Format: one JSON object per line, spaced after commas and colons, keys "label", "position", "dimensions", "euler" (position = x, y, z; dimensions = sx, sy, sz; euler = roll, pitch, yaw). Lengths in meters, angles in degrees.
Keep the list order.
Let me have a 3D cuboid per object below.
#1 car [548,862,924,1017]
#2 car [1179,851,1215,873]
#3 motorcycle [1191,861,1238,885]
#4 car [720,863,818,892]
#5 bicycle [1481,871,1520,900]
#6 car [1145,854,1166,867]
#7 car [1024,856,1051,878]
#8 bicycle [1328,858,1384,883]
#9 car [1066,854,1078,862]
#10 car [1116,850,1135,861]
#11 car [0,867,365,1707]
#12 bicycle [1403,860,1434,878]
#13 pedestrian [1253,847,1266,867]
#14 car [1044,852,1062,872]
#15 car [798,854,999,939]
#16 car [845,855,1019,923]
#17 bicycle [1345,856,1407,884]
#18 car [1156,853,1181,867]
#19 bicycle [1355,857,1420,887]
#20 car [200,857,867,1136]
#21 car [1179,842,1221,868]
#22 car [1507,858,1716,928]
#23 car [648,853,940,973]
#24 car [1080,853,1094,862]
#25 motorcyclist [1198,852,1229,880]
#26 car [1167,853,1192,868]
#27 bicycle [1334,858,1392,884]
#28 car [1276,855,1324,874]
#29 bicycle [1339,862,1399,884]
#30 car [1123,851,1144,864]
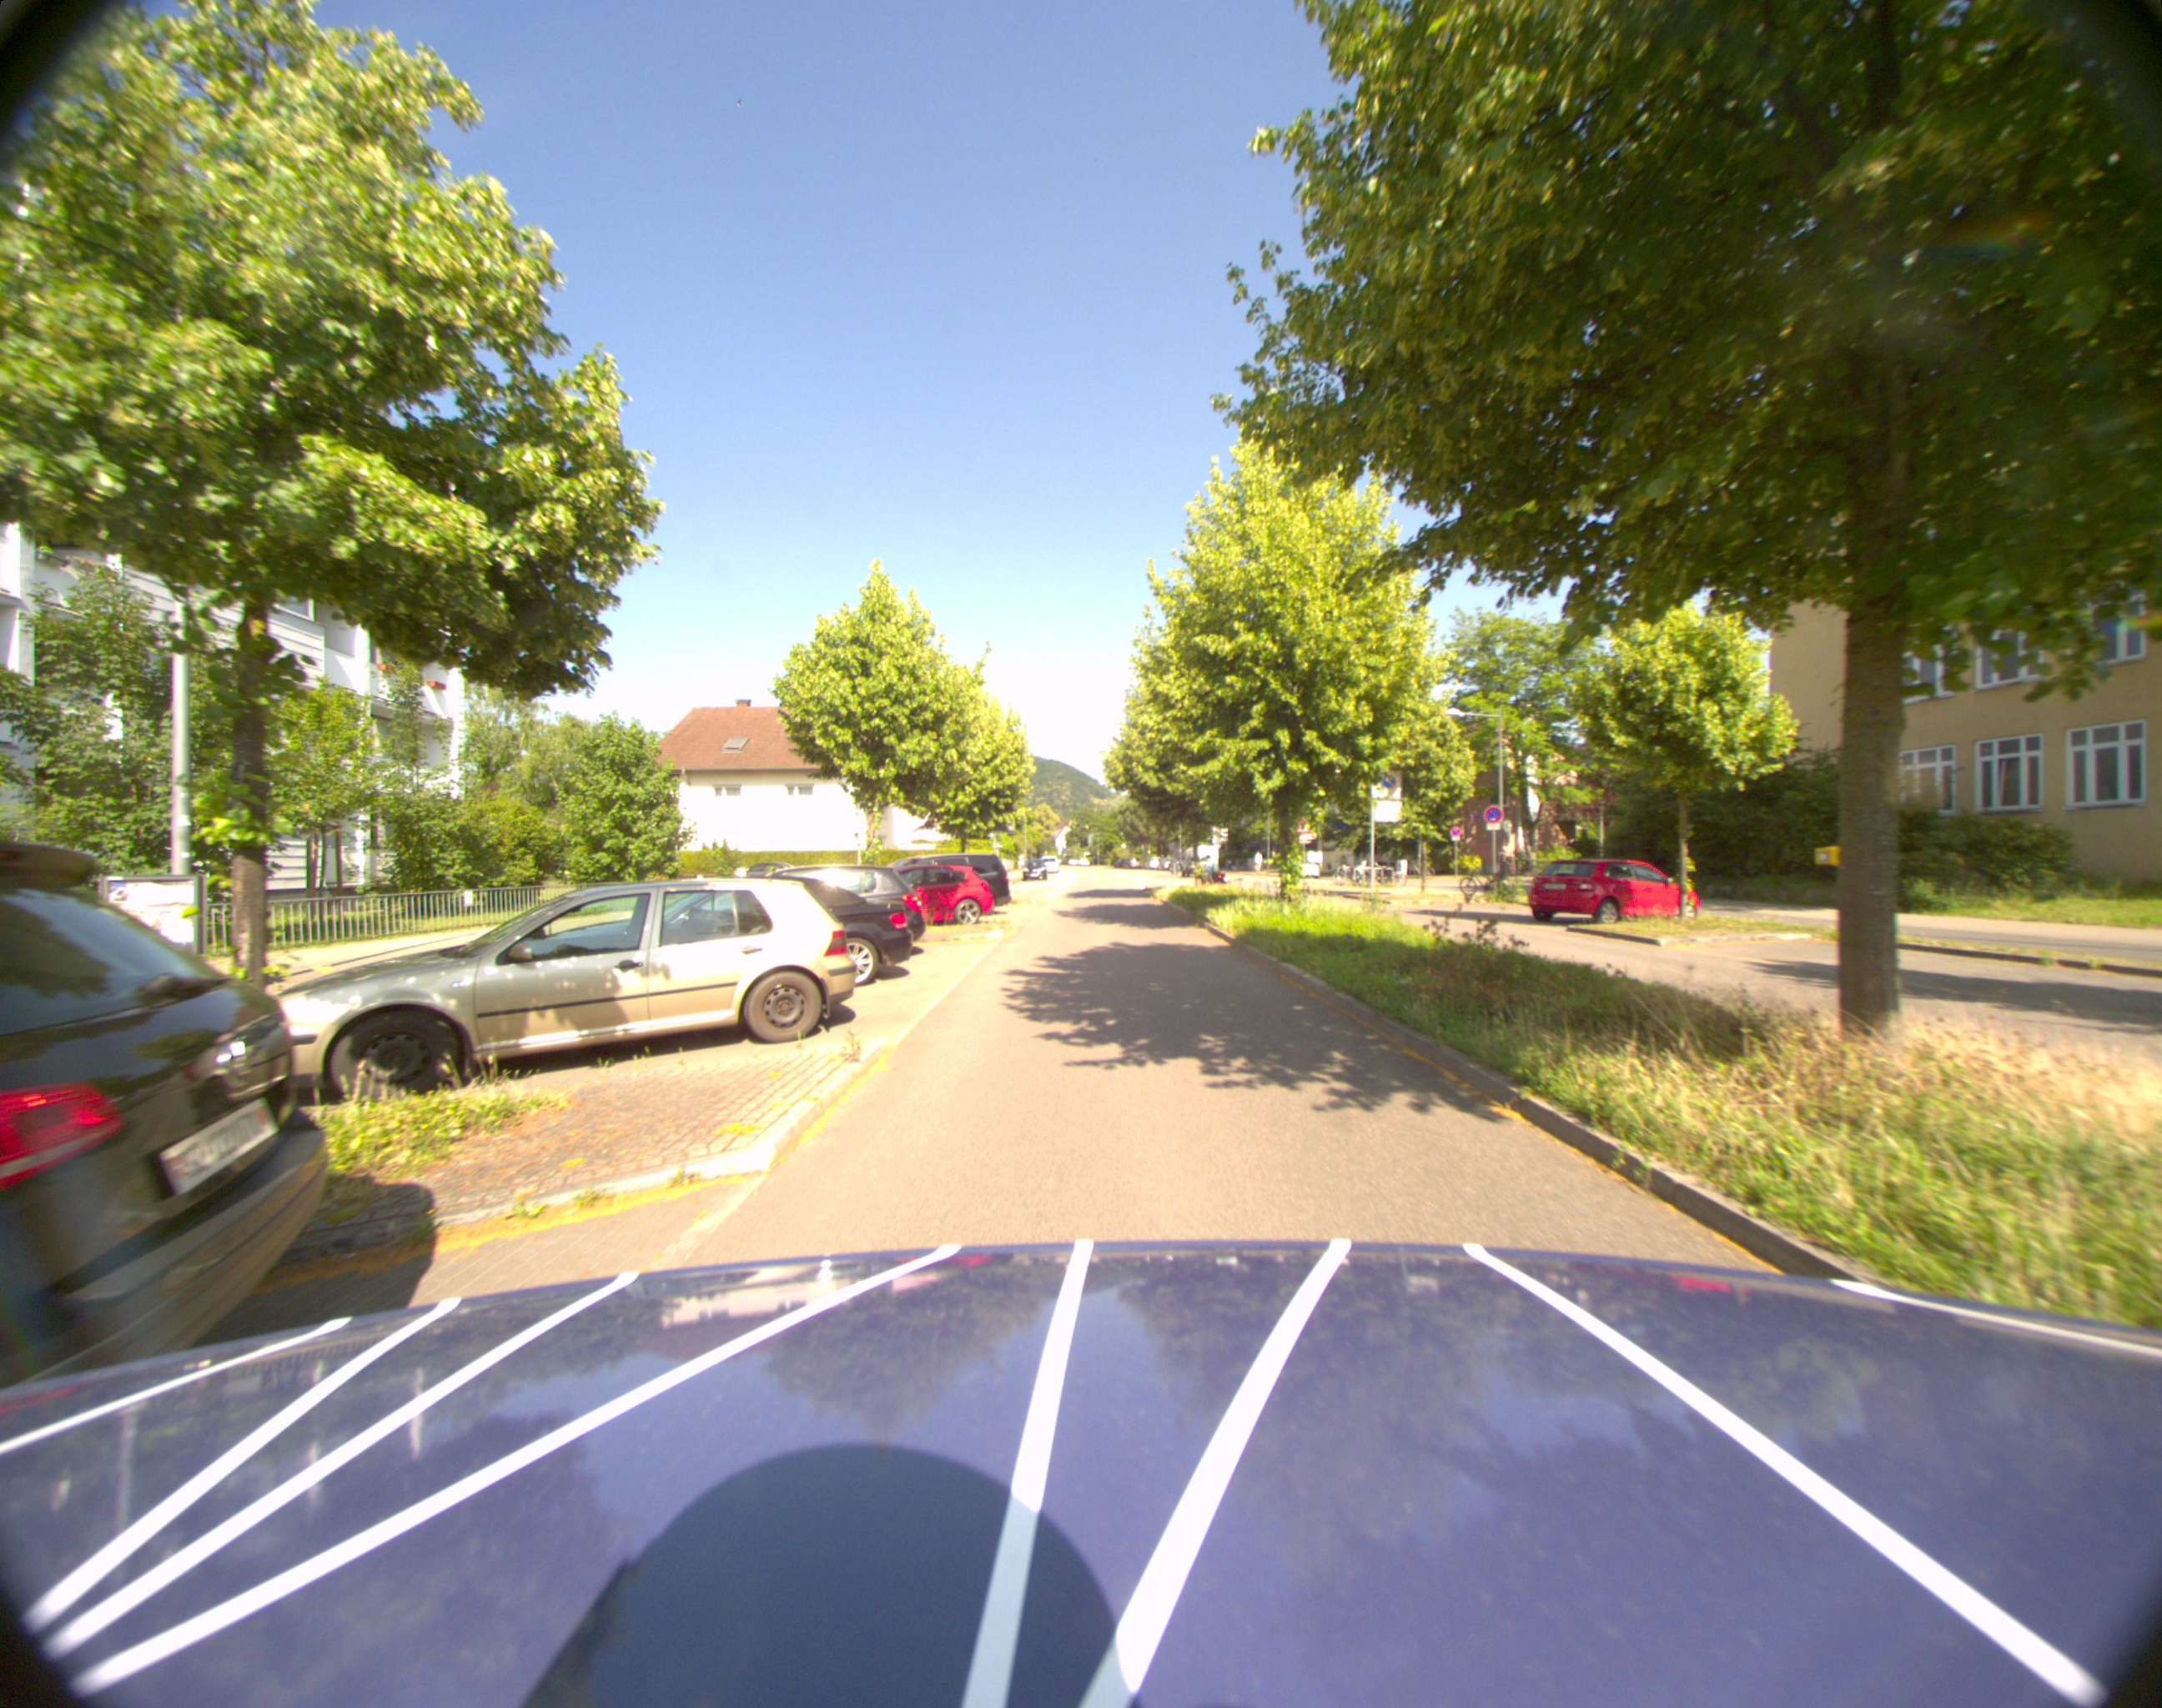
{"label": "car", "position": [-4.174, 0.947, 9.716], "dimensions": [4.004, 1.630, 1.750], "euler": [0, -1, -21]}
{"label": "car", "position": [8.406, 0.573, 55.502], "dimensions": [1.746, 1.538, 4.071], "euler": [1, 0, -4]}
{"label": "motorcycle", "position": [5.924, 0.840, 33.851], "dimensions": [0.927, 0.987, 2.230], "euler": [-1, 0, -24]}
{"label": "car", "position": [-15.438, 1.187, 37.721], "dimensions": [4.126, 1.389, 1.812], "euler": [0, -2, 1]}
{"label": "bicycle", "position": [14.230, 1.064, 25.782], "dimensions": [0.522, 0.898, 1.270], "euler": [1, 1, -4]}
{"label": "car", "position": [8.920, 0.773, 91.465], "dimensions": [1.726, 1.550, 3.997], "euler": [1, -1, -7]}
{"label": "car", "position": [-2.961, 0.862, 52.727], "dimensions": [1.621, 1.382, 3.999], "euler": [-1, 0, 0]}
{"label": "bicycle", "position": [13.734, 0.816, 37.950], "dimensions": [2.551, 1.249, 0.739], "euler": [1, 0, -2]}
{"label": "car", "position": [-1.881, 0.728, 154.349], "dimensions": [2.000, 1.608, 3.997], "euler": [0, 0, -8]}
{"label": "car", "position": [6.229, 0.229, 107.811], "dimensions": [1.847, 1.448, 4.190], "euler": [1, -1, -9]}
{"label": "car", "position": [-4.103, 0.886, 0.665], "dimensions": [4.753, 1.650, 1.749], "euler": [-1, 0, -30]}
{"label": "bicycle", "position": [20.438, 0.885, 46.050], "dimensions": [1.711, 1.074, 0.379], "euler": [-1, 0, 41]}
{"label": "pedestrian", "position": [15.982, 0.248, 67.910], "dimensions": [0.976, 1.769, 0.725], "euler": [0, 1, -3]}
{"label": "car", "position": [-2.904, 0.804, 78.222], "dimensions": [1.767, 1.816, 4.596], "euler": [-2, 1, -2]}
{"label": "car", "position": [-4.075, 0.859, 17.224], "dimensions": [4.008, 1.630, 1.875], "euler": [-1, 1, -38]}
{"label": "car", "position": [-3.995, 0.852, 20.506], "dimensions": [4.127, 1.630, 2.039], "euler": [-1, 0, -33]}
{"label": "bicycle", "position": [13.370, 0.732, 34.443], "dimensions": [2.522, 1.249, 0.739], "euler": [1, 0, -2]}
{"label": "car", "position": [9.827, 0.647, 85.452], "dimensions": [1.726, 1.550, 4.669], "euler": [1, -1, -7]}
{"label": "bicycle", "position": [13.428, 0.783, 33.286], "dimensions": [2.551, 1.249, 0.739], "euler": [0, 0, -2]}
{"label": "car", "position": [-4.067, 0.865, 6.385], "dimensions": [4.007, 1.630, 1.748], "euler": [-1, 0, -33]}
{"label": "car", "position": [11.642, 0.117, 74.783], "dimensions": [2.096, 2.482, 5.947], "euler": [1, -1, -11]}
{"label": "car", "position": [12.153, 0.847, 17.453], "dimensions": [4.004, 1.458, 1.996], "euler": [1, 0, -20]}
{"label": "car", "position": [-4.389, 0.823, 12.050], "dimensions": [4.003, 1.630, 1.797], "euler": [-1, 0, -19]}
{"label": "car", "position": [1.140, 0.692, 141.413], "dimensions": [1.960, 1.543, 3.997], "euler": [-1, 0, -8]}
{"label": "motorcyclist", "position": [5.902, 0.539, 33.899], "dimensions": [0.905, 1.214, 1.059], "euler": [-1, 0, -24]}
{"label": "car", "position": [10.404, 0.705, 80.483], "dimensions": [1.726, 1.550, 3.997], "euler": [1, -1, -7]}
{"label": "bicycle", "position": [13.727, 0.808, 36.966], "dimensions": [2.551, 1.232, 0.739], "euler": [1, 0, -2]}
{"label": "car", "position": [15.260, 0.721, 53.123], "dimensions": [1.726, 1.259, 3.997], "euler": [1, -1, -7]}
{"label": "bicycle", "position": [13.540, 0.886, 35.789], "dimensions": [2.551, 0.982, 0.739], "euler": [1, 0, -2]}
{"label": "car", "position": [7.090, 0.476, 102.420], "dimensions": [1.847, 1.754, 4.582], "euler": [1, -1, -9]}
